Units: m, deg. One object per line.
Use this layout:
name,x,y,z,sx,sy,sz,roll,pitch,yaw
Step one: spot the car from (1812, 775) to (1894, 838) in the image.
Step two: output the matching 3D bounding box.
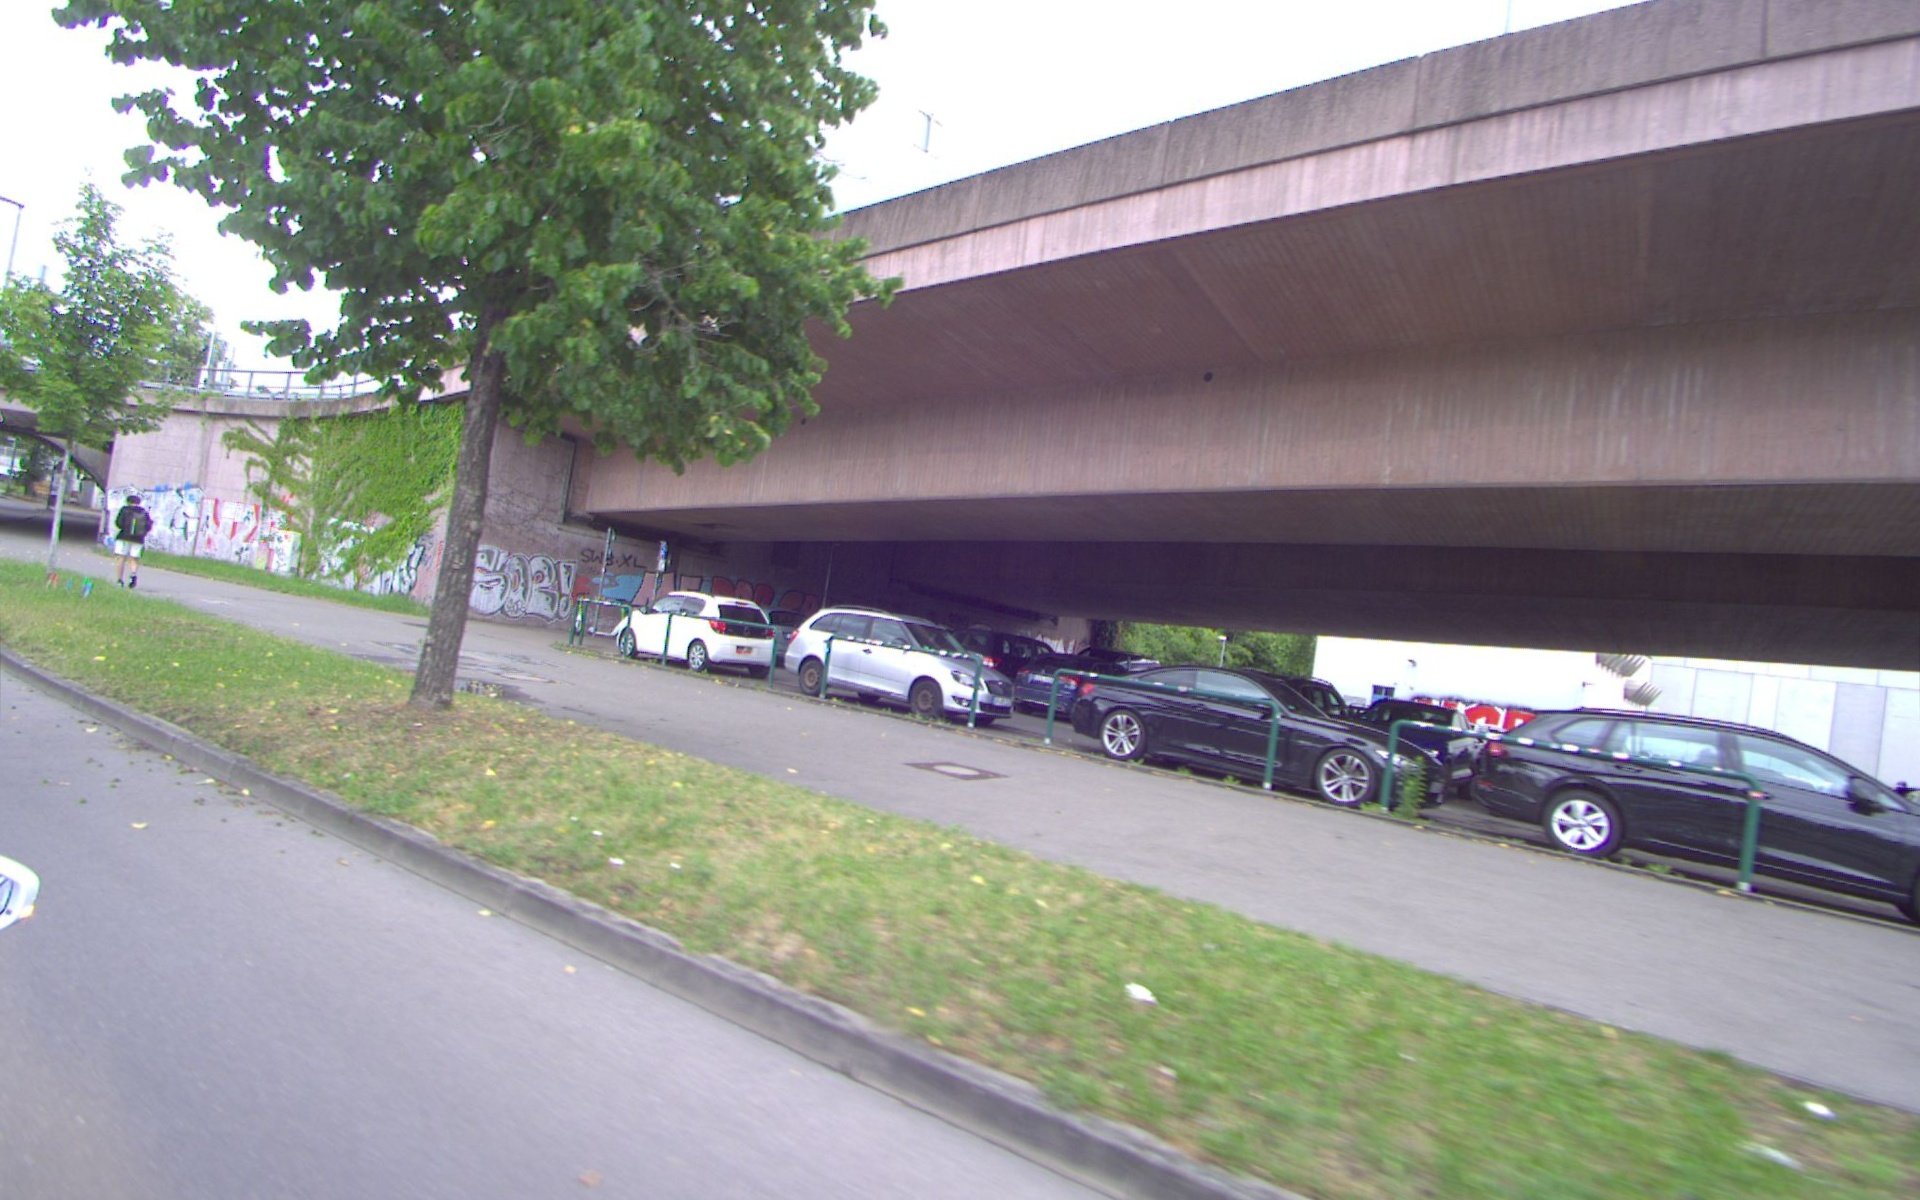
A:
car,29.680,6.828,33.532,1.812,1.610,4.178,7,-3,41

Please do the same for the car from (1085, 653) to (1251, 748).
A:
car,4.217,2.051,19.982,1.730,1.450,3.856,8,-3,35

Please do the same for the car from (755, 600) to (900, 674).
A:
car,-3.639,1.083,28.234,1.730,1.495,3.856,8,-3,35

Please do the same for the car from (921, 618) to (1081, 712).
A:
car,1.031,1.553,23.256,1.730,1.656,3.856,8,-3,35

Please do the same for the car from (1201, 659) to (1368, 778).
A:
car,6.047,2.202,18.461,1.730,1.713,3.856,8,-3,35

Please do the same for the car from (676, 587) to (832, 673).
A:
car,-5.121,0.709,24.670,1.741,1.516,3.949,10,-2,-44

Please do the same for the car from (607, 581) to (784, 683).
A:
car,-5.190,0.595,19.587,3.330,1.456,1.574,7,-3,41

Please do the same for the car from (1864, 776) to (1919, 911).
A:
car,12.959,3.191,12.669,1.671,1.526,3.856,8,-3,35

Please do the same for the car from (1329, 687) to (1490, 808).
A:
car,7.810,2.511,17.279,1.730,1.572,3.856,8,-3,35

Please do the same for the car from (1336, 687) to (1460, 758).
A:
car,14.074,3.955,32.154,2.062,1.695,5.089,7,-3,41

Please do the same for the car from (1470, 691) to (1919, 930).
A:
car,7.260,1.911,9.291,4.189,1.435,1.506,6,-4,41

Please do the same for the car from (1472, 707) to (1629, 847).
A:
car,9.089,2.623,15.331,1.671,1.572,3.856,8,-3,35

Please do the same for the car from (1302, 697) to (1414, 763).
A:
car,11.299,3.709,28.445,1.655,1.443,3.849,7,-3,41

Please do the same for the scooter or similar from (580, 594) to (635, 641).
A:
scooter or similar,-10.055,0.501,28.659,1.411,1.142,0.270,8,-1,12

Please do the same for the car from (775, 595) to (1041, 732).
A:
car,-0.904,0.976,16.107,4.007,1.552,1.614,7,-3,37

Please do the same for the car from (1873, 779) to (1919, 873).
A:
car,20.115,4.707,20.606,1.812,1.717,3.849,7,-3,41

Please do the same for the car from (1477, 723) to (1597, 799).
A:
car,14.616,4.072,25.409,1.812,1.443,3.849,7,-3,41

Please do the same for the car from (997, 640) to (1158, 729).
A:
car,2.636,1.877,21.852,1.730,1.454,3.856,8,-3,35

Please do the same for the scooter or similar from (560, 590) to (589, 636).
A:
scooter or similar,-10.299,0.344,26.907,0.265,1.142,1.677,8,-2,-11

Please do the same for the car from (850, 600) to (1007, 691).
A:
car,-0.685,1.163,24.621,1.730,1.656,3.856,8,-3,35

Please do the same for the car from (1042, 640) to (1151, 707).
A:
car,4.779,2.579,34.963,1.857,1.808,3.651,7,-3,41

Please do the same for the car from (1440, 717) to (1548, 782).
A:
car,15.832,4.447,29.716,1.812,1.482,4.178,7,-3,41

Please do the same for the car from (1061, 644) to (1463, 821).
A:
car,3.600,1.549,12.459,4.311,1.336,1.767,7,-3,40

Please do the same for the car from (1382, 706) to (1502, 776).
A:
car,12.912,3.788,26.851,1.812,1.443,3.849,7,-3,41

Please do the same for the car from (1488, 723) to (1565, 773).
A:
car,22.999,6.016,40.786,1.812,1.610,4.178,7,-3,41

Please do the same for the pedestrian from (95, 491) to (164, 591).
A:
pedestrian,-17.161,-1.222,20.794,0.813,1.929,0.735,7,-1,38
